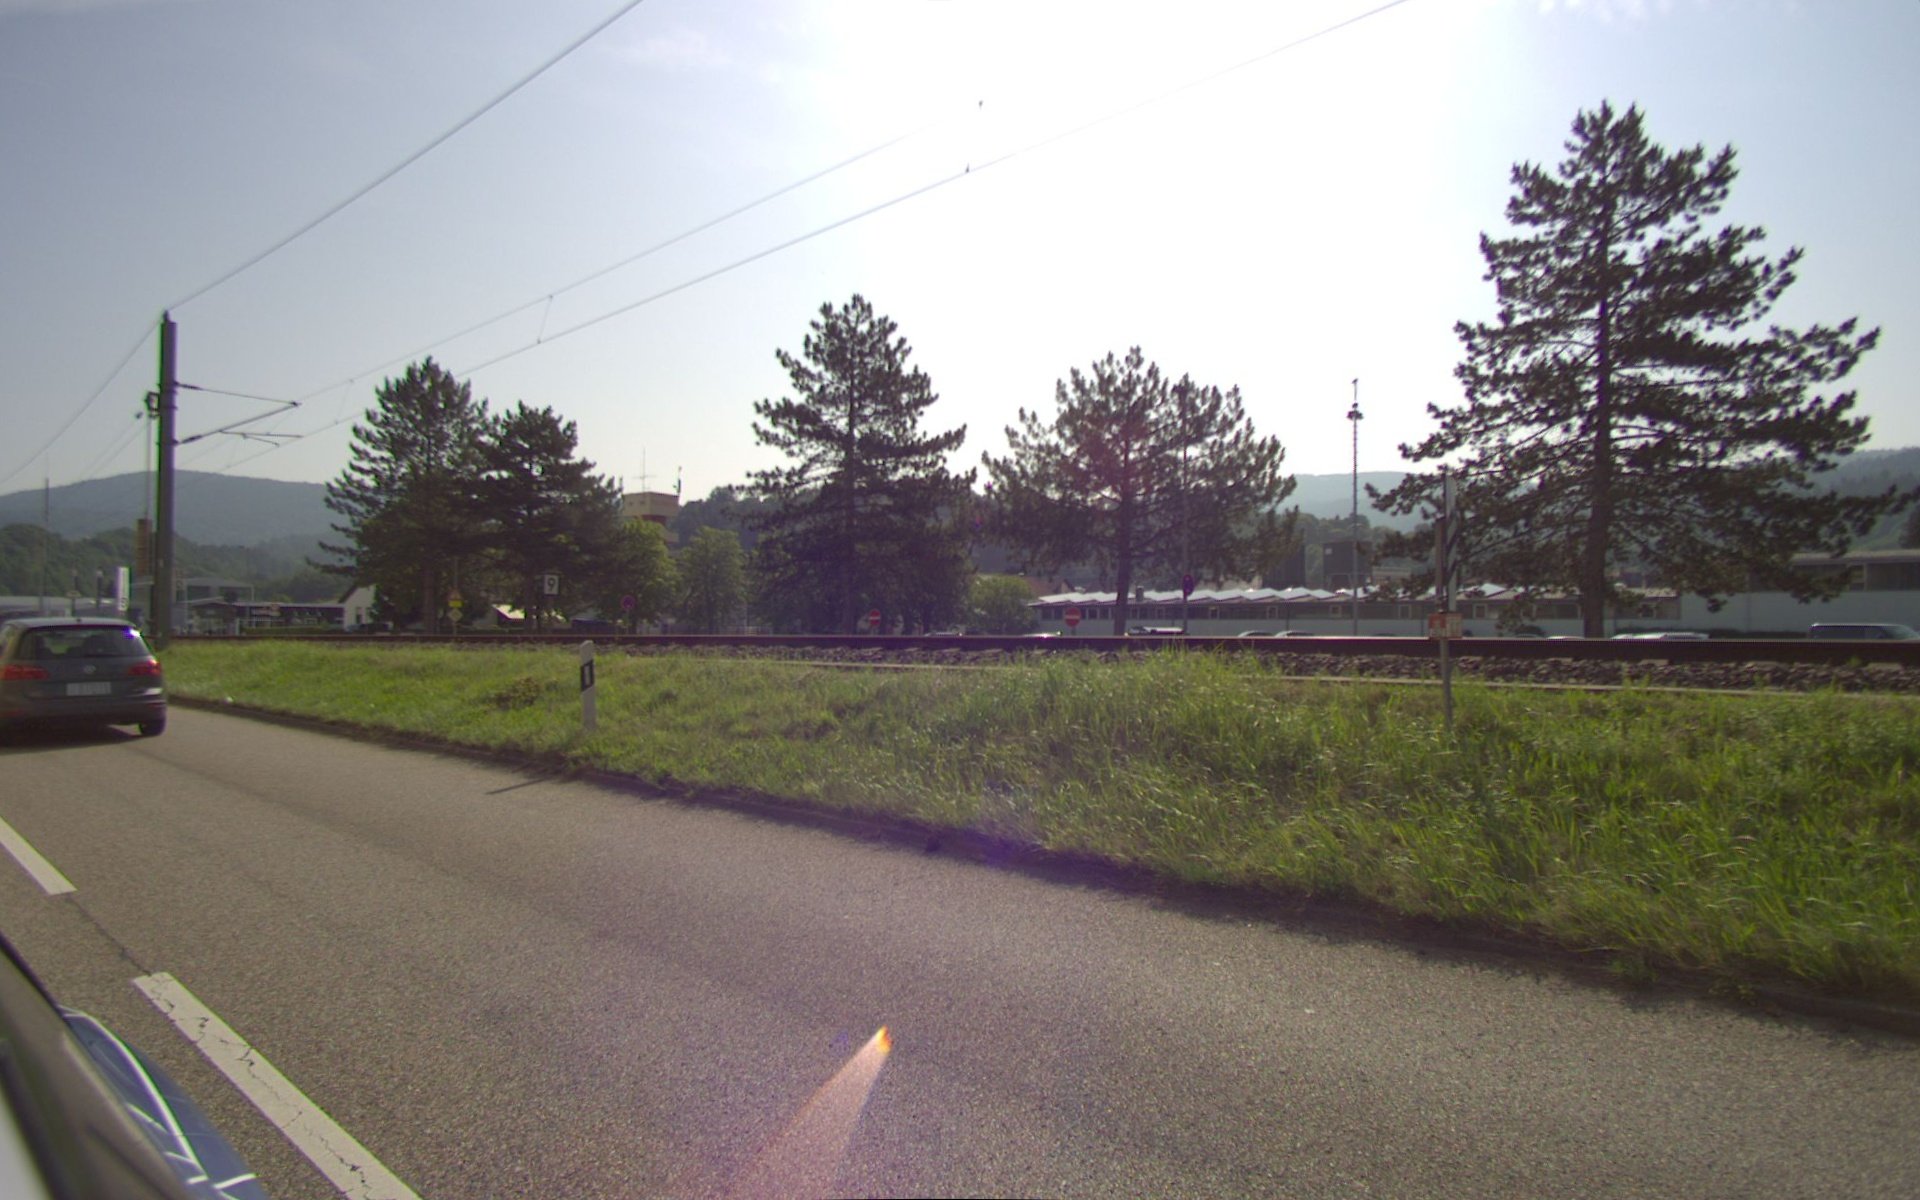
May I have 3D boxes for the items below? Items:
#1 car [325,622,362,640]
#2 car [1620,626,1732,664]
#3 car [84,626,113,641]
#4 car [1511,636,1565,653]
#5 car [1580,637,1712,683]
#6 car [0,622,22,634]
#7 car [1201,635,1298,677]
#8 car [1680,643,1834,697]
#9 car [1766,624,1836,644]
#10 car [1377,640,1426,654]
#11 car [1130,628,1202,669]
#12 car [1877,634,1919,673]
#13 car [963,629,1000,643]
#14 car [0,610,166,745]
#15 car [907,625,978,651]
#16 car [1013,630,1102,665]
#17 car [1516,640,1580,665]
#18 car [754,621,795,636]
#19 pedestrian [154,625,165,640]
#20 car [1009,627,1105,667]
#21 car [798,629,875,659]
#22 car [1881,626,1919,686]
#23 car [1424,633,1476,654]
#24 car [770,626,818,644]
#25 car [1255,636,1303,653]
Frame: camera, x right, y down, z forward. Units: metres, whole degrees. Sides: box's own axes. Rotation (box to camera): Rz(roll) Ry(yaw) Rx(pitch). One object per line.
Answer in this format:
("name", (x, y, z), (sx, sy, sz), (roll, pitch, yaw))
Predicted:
("car", (-47.057, 2.376, 77.197), (2.889, 1.362, 1.378), (-1, -2, 36))
("car", (26.155, 1.642, 36.982), (3.476, 1.335, 1.461), (1, -2, -17))
("car", (-103.874, 3.993, 122.060), (4.357, 1.701, 1.506), (-1, 0, 33))
("car", (44.825, 3.438, 78.529), (3.441, 1.335, 1.426), (-1, -3, 41))
("car", (20.863, 1.804, 30.805), (3.476, 1.335, 1.461), (1, -2, -17))
("car", (-131.816, 3.948, 139.157), (1.658, 1.539, 3.925), (-1, 1, 33))
("car", (9.703, 1.846, 34.194), (1.539, 1.335, 3.866), (1, -2, -12))
("car", (21.082, 1.828, 26.781), (3.476, 1.335, 1.461), (1, -2, -17))
("car", (56.535, 2.268, 68.099), (3.533, 1.335, 1.438), (-1, -2, 39))
("car", (36.893, 3.937, 84.657), (3.533, 1.119, 1.321), (-1, -2, 39))
("car", (7.257, 1.689, 35.891), (1.496, 1.368, 3.525), (1, -2, -6))
("car", (33.471, 1.827, 34.131), (1.433, 1.335, 3.545), (1, -2, -13))
("car", (2.336, 3.916, 109.494), (3.842, 1.492, 1.478), (-1, -2, 34))
("car", (-12.133, 0.928, 13.477), (4.090, 1.537, 1.713), (-1, -1, 41))
("car", (-1.012, 2.169, 57.739), (3.791, 1.417, 1.691), (1, -2, -9))
("car", (4.393, 2.147, 46.106), (3.795, 1.518, 1.689), (0, -2, -3))
("car", (32.830, 2.921, 56.481), (3.476, 1.335, 1.462), (1, -2, -29))
("car", (-19.291, 2.979, 105.408), (3.954, 1.464, 1.465), (0, -2, 9))
("pedestrian", (-73.850, 2.976, 93.346), (0.672, 1.342, 0.569), (-1, -2, 31))
("car", (4.053, 1.970, 42.525), (3.795, 1.655, 1.689), (0, -2, -3))
("car", (-6.218, 2.209, 51.206), (3.795, 1.454, 1.689), (0, -2, -3))
("car", (24.982, 1.375, 24.434), (1.653, 1.510, 3.727), (1, -2, -15))
("car", (36.787, 3.238, 76.032), (1.540, 1.534, 3.547), (1, -2, -17))
("car", (-14.318, 3.039, 87.469), (3.985, 1.560, 1.666), (-1, -2, 31))
("car", (25.681, 3.541, 81.496), (3.433, 1.335, 1.429), (-1, -2, 33))
